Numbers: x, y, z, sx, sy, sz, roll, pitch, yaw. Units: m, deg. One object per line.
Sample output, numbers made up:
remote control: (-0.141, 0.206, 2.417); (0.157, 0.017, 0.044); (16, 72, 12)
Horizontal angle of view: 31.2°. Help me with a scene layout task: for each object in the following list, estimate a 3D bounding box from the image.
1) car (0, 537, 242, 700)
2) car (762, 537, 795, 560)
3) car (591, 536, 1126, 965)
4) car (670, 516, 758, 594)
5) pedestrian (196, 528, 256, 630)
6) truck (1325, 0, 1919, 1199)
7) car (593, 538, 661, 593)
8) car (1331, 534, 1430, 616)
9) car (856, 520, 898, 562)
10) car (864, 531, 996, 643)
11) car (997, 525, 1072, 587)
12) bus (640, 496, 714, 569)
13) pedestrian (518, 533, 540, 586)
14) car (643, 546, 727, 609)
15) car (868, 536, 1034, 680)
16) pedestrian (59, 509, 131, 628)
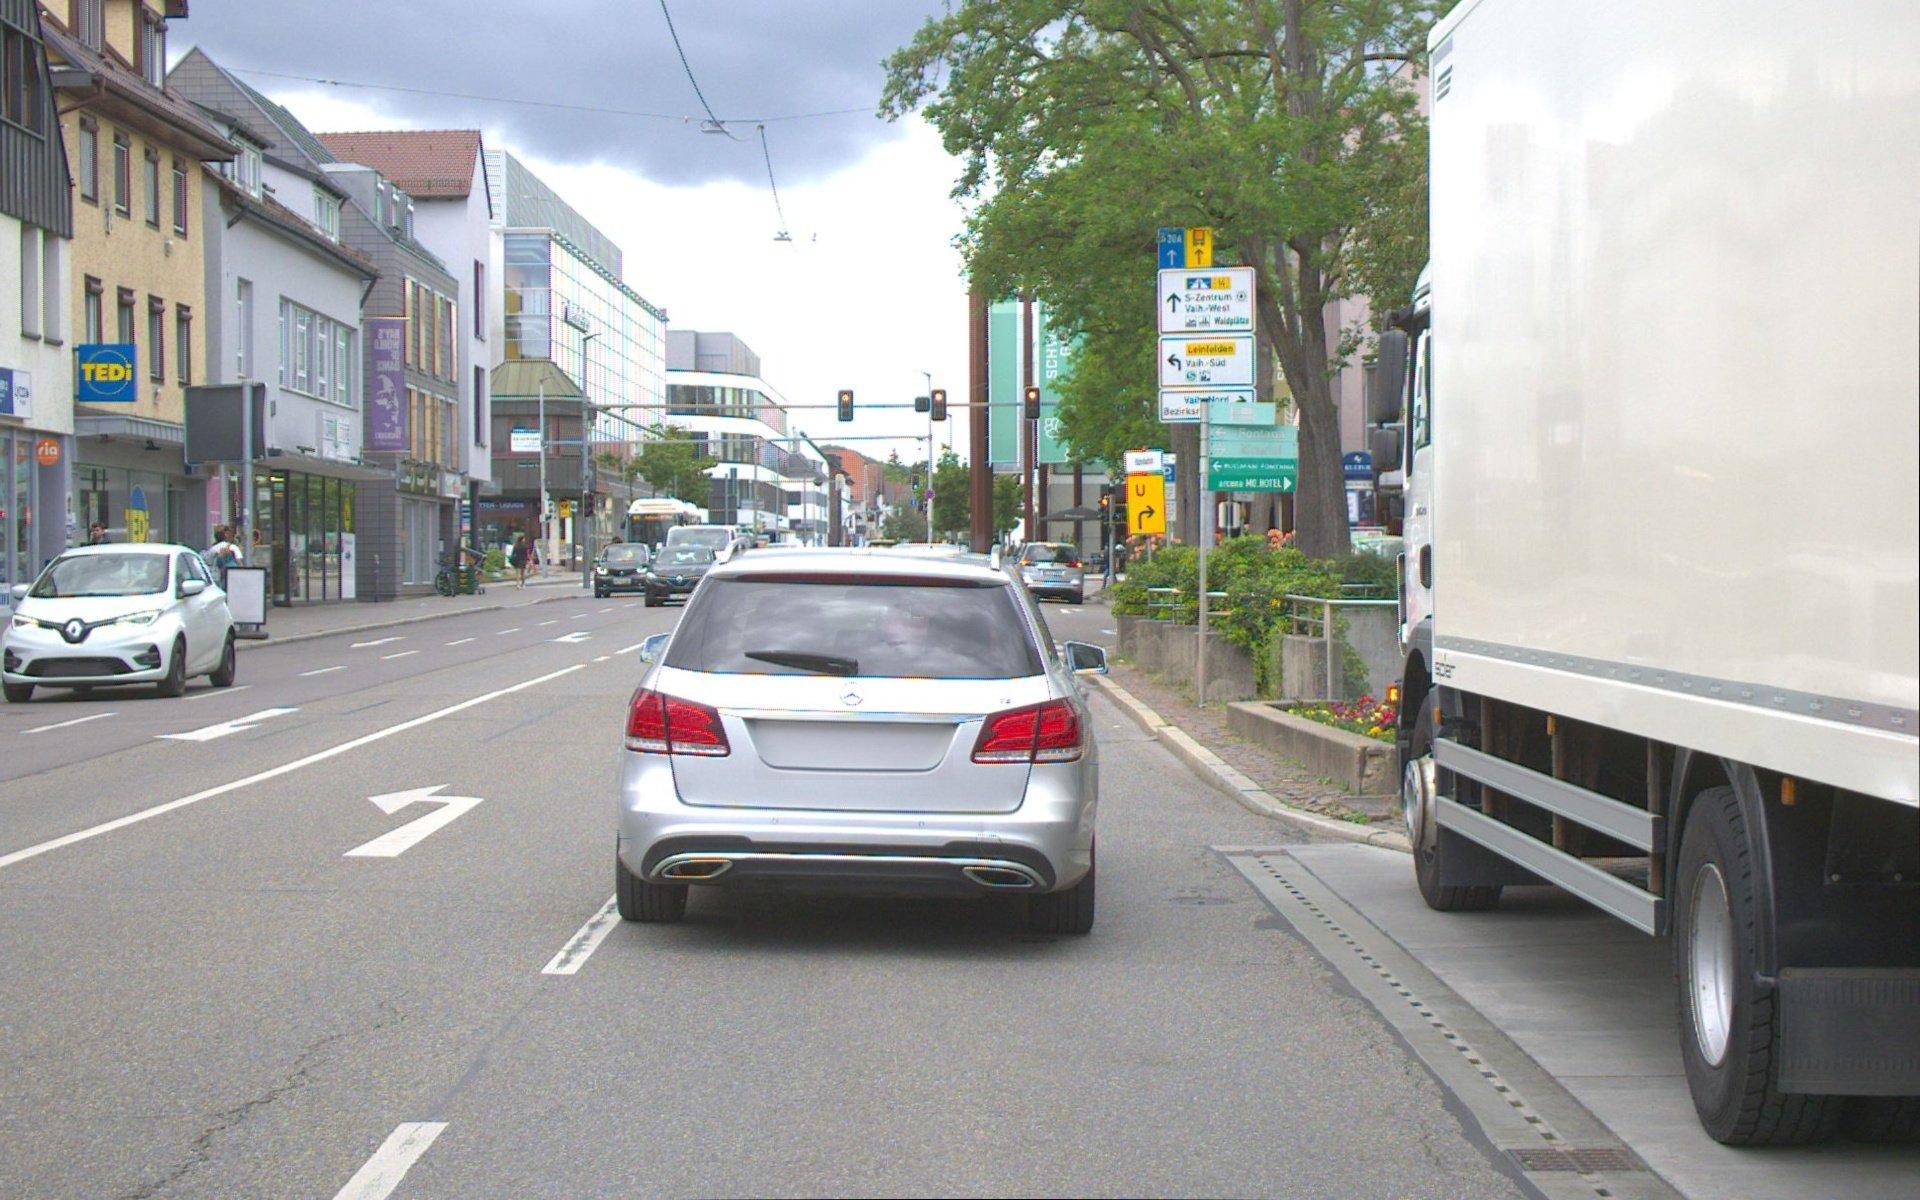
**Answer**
car: (-8.514, 0.163, 35.104); (1.639, 1.562, 3.927); (0, 1, -2)
car: (-9.796, -2.779, 185.558); (1.575, 1.240, 3.606); (0, 1, 0)
car: (-0.435, 0.506, 14.116); (1.874, 1.501, 4.000); (0, 1, -2)
car: (-6.490, -1.193, 91.095); (1.961, 1.954, 5.140); (-1, 1, 0)
pedestrian: (-12.077, -0.351, 56.584); (0.816, 1.629, 0.980); (2, 1, -6)
truck: (3.066, -0.533, 10.782); (2.688, 3.549, 9.767); (0, 1, -1)
car: (-9.634, -1.020, 99.674); (1.617, 1.518, 3.508); (-1, 1, -1)
car: (9.734, -0.599, 79.868); (1.866, 1.858, 4.000); (0, 1, 1)
car: (-3.981, -2.852, 165.297); (1.993, 2.007, 4.000); (0, 1, -1)
car: (-0.459, -0.231, 53.924); (1.993, 1.678, 4.000); (0, 1, 0)
car: (2.038, -1.221, 95.159); (1.993, 1.678, 4.000); (0, 1, 0)
bus: (-12.481, -2.974, 151.954); (2.775, 3.154, 5.933); (0, 1, 0)
pedestrian: (-13.670, -1.282, 108.990); (0.586, 1.629, 0.615); (3, 1, -3)
car: (-6.449, -0.543, 80.840); (1.617, 1.423, 3.923); (-1, 1, 0)
car: (-0.113, 0.064, 38.561); (1.754, 1.515, 4.000); (0, 0, 0)
pedestrian: (-13.056, -0.477, 51.908); (0.867, 1.740, 0.806); (3, 1, -5)
